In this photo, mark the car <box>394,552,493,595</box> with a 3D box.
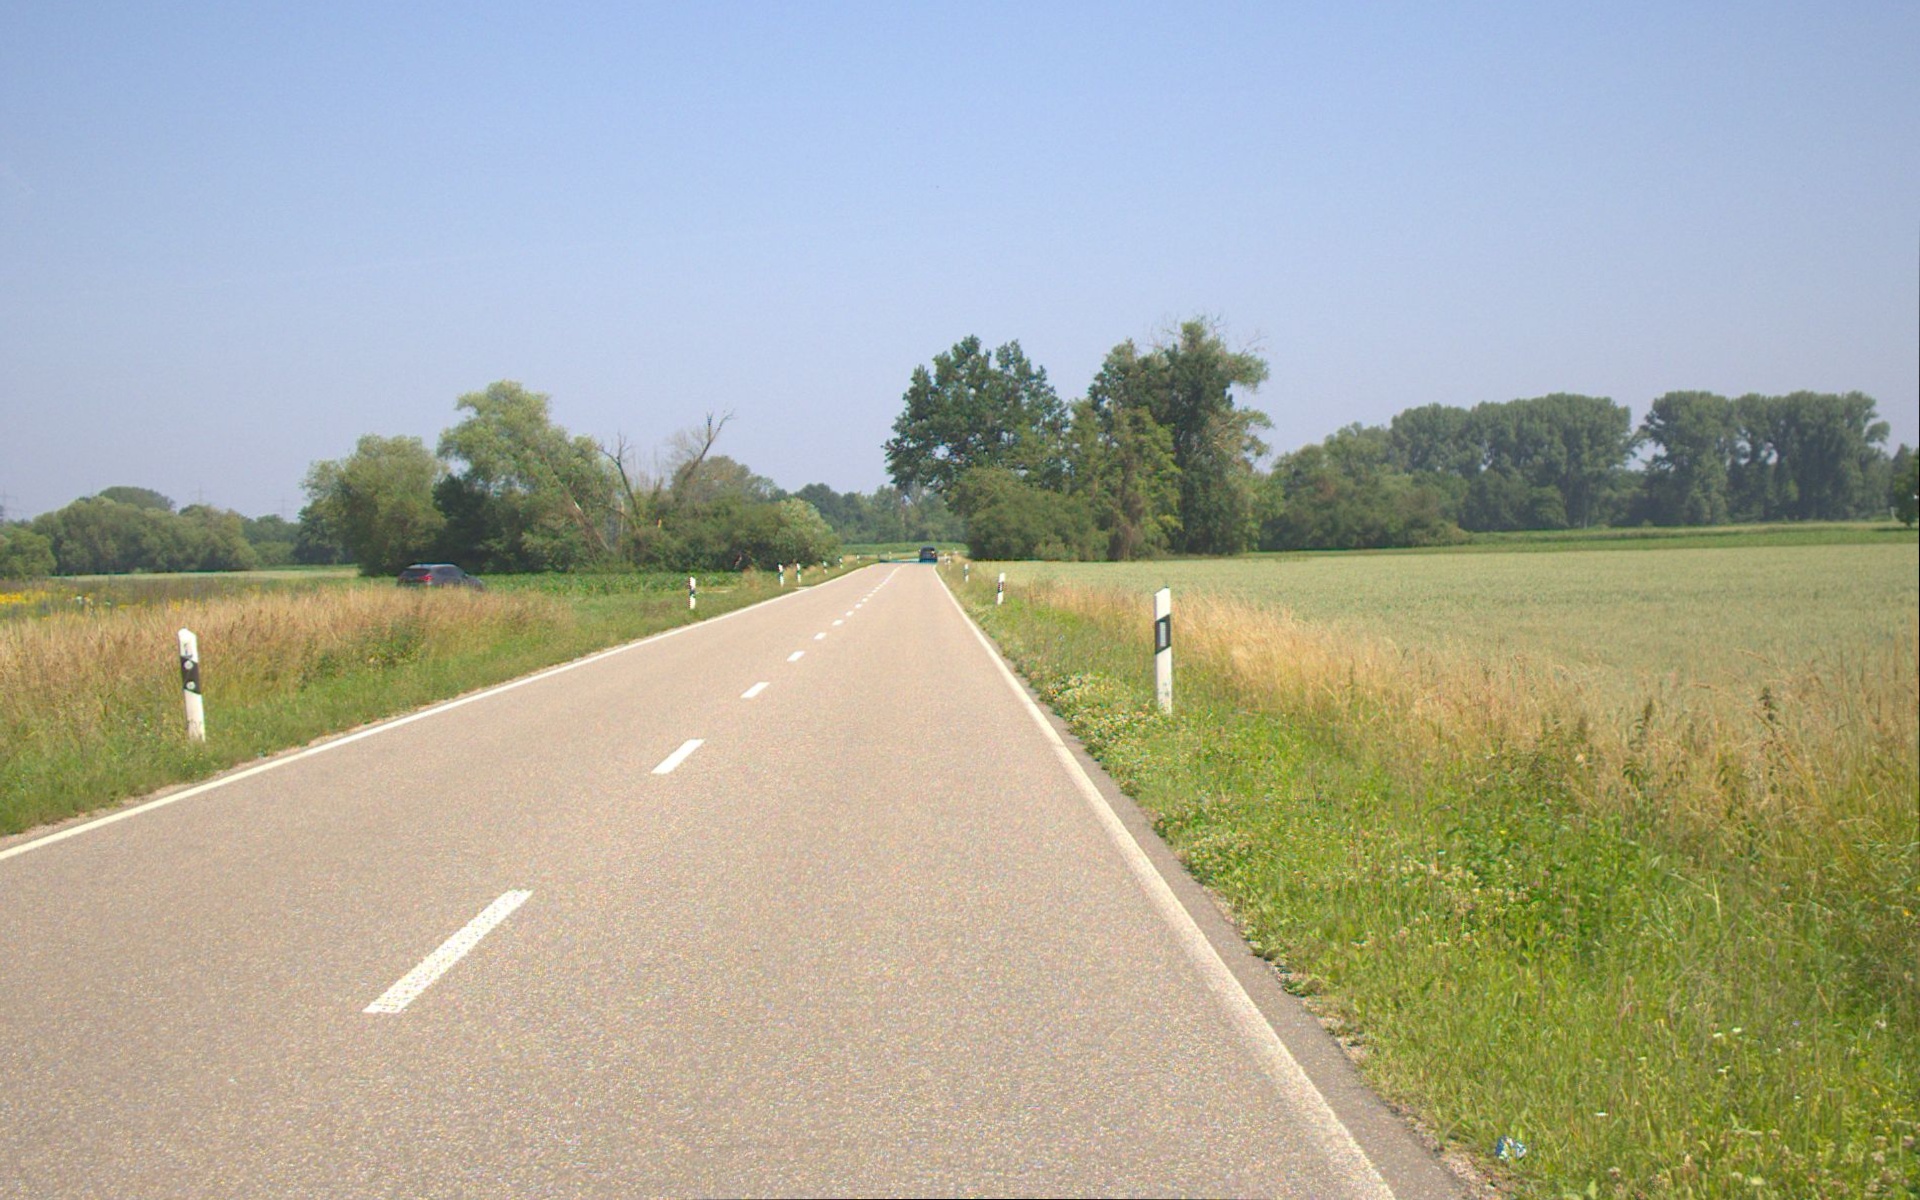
[{"bbox_3d":[-21.224,-1.117,141.357,1.755,1.645,4.523,-1,1,25],"label":"car"}]
